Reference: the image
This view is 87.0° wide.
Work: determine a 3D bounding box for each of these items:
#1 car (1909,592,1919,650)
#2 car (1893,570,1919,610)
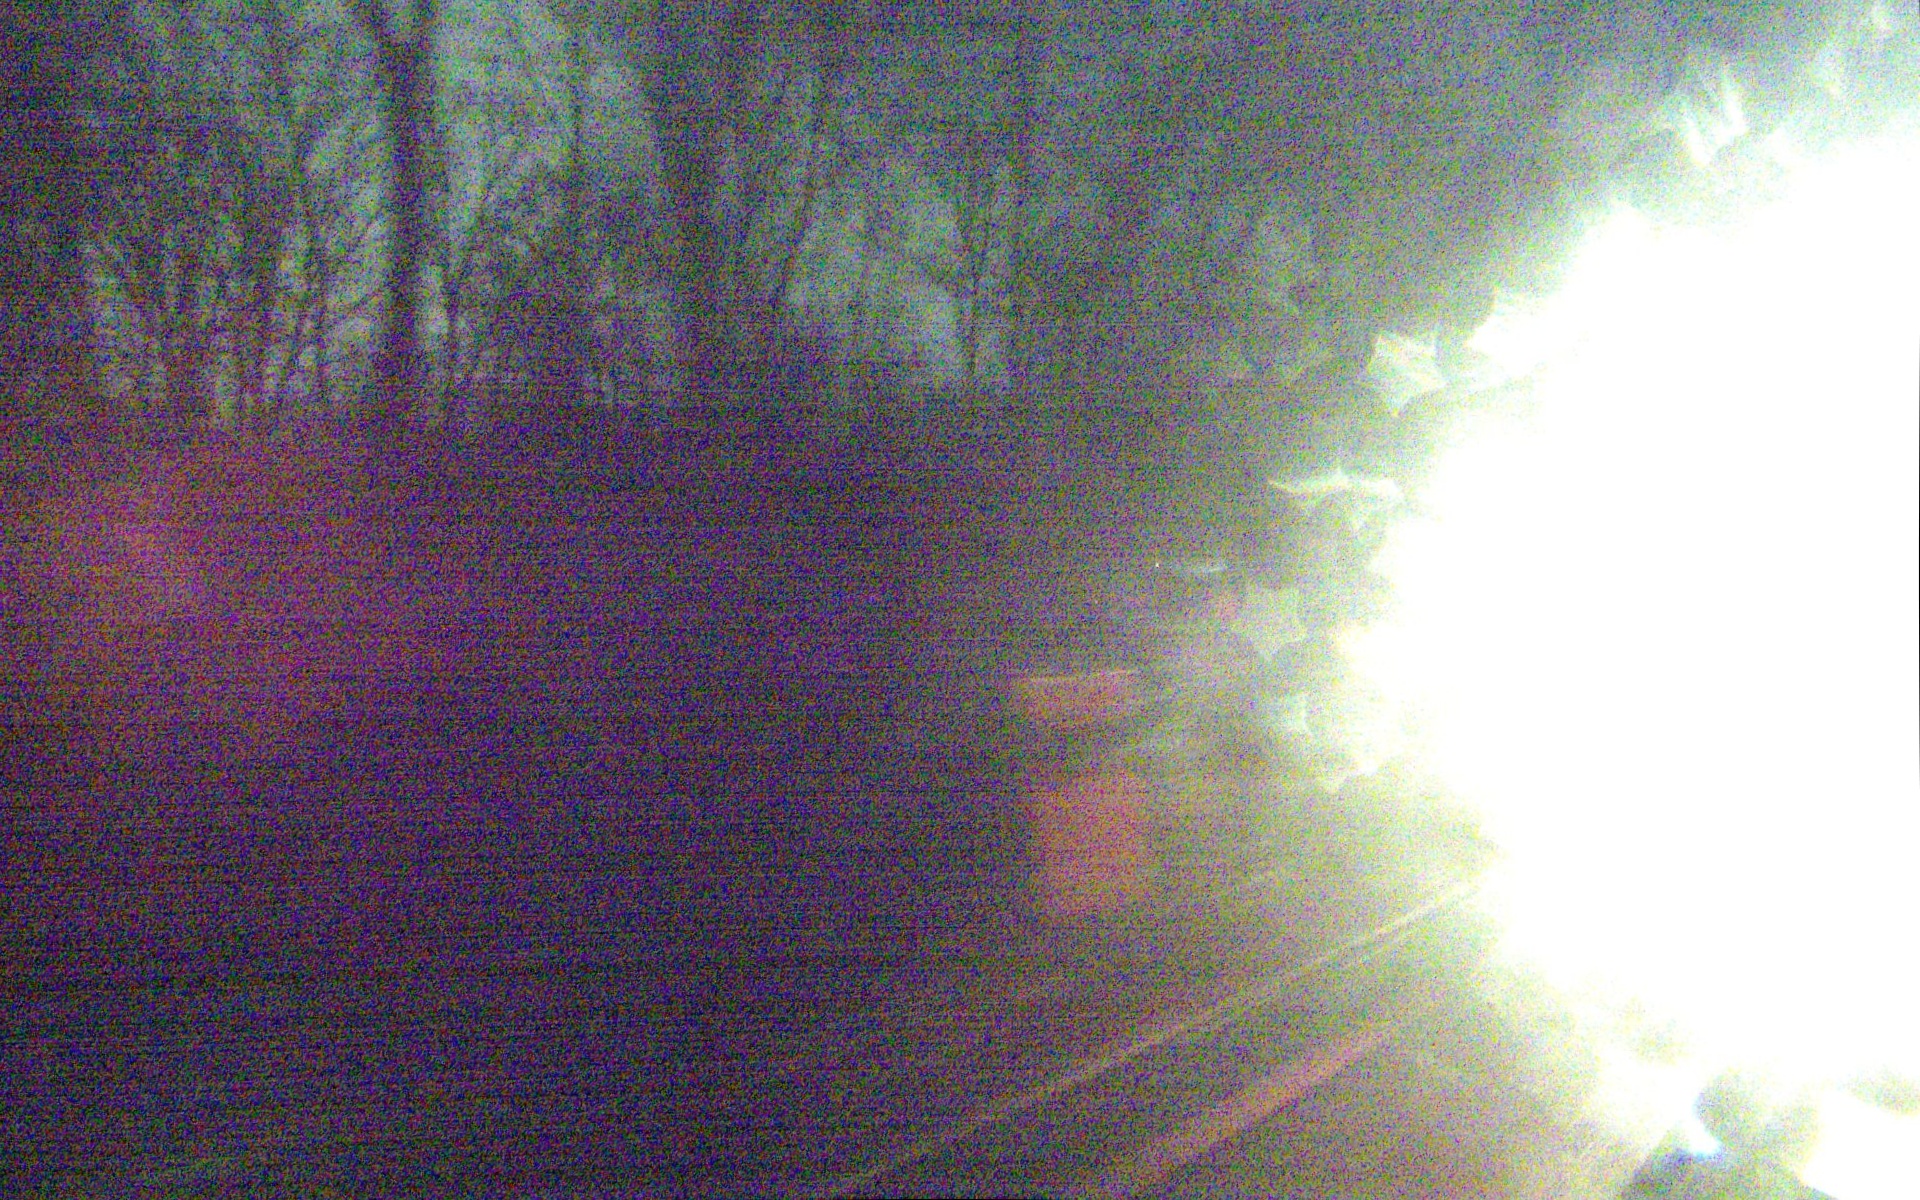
[{"bbox_3d":[29.398,0.619,29.706,3.932,1.631,1.891,-2,4,-42],"label":"car"},{"bbox_3d":[49.507,-0.512,52.164,1.994,2.039,3.937,1,1,44],"label":"car"}]
